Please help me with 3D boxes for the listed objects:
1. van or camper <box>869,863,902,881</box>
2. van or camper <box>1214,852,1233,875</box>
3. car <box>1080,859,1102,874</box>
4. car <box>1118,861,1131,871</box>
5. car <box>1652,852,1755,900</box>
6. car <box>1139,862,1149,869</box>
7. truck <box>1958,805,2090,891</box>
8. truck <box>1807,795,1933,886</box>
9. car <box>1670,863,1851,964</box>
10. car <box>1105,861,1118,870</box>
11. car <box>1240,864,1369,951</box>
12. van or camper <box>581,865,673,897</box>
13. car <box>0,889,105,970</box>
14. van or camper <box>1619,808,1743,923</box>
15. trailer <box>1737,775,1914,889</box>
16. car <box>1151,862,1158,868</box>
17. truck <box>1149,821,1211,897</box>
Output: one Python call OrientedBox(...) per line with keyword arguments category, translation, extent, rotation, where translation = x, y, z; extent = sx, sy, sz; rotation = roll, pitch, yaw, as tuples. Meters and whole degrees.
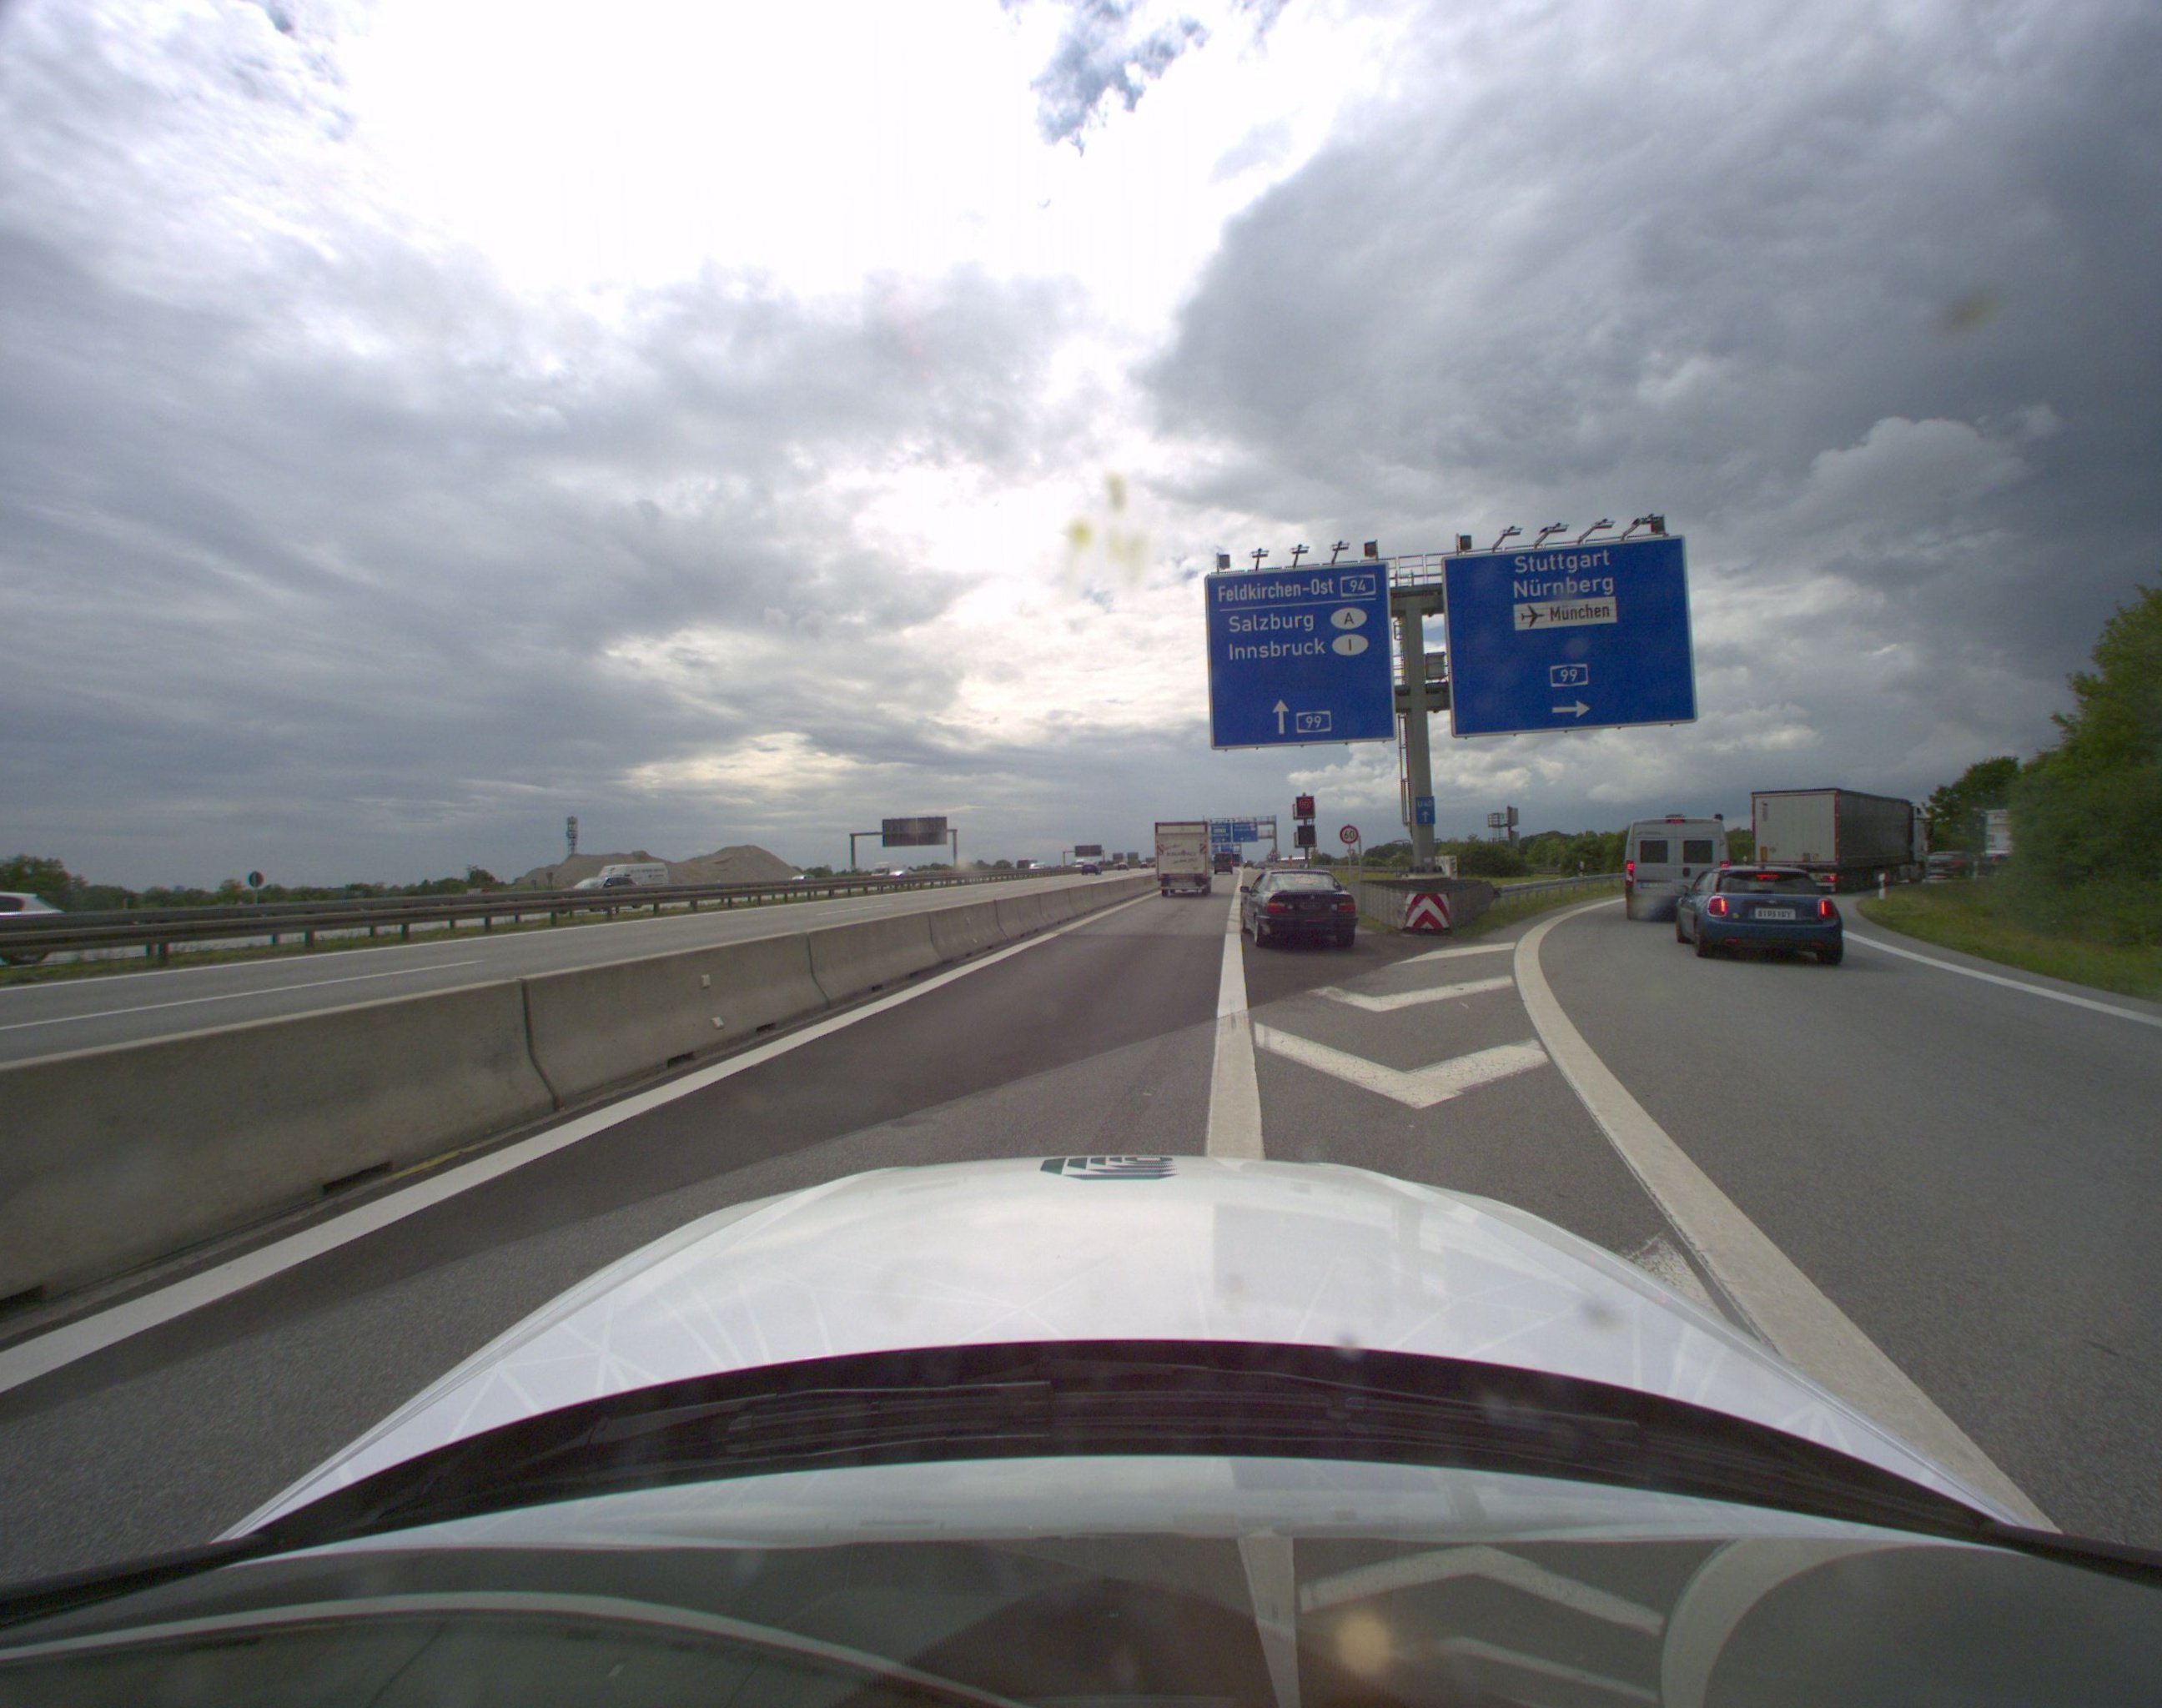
OrientedBox(category="van or camper", translation=(-24.909, 2.243, 104.071), extent=(2.175, 2.172, 5.821), rotation=(-1, -1, 7))
OrientedBox(category="van or camper", translation=(15.750, 1.044, 89.965), extent=(1.987, 2.371, 6.143), rotation=(-1, -1, 10))
OrientedBox(category="car", translation=(1.189, 1.425, 94.905), extent=(1.982, 1.662, 4.395), rotation=(-1, -1, 9))
OrientedBox(category="car", translation=(7.580, 2.098, 142.697), extent=(1.982, 1.541, 4.008), rotation=(-1, -1, 7))
OrientedBox(category="car", translation=(21.543, 0.717, 28.095), extent=(2.186, 1.501, 4.815), rotation=(-2, -1, 45))
OrientedBox(category="car", translation=(14.200, 2.548, 182.774), extent=(1.982, 1.398, 4.008), rotation=(-1, -1, 7))
OrientedBox(category="truck", translation=(54.879, -0.392, 47.334), extent=(9.016, 4.615, 3.252), rotation=(-1, 0, -29))
OrientedBox(category="truck", translation=(38.829, -0.620, 40.033), extent=(6.819, 4.095, 3.333), rotation=(0, -1, -37))
OrientedBox(category="car", translation=(11.057, 0.864, 13.519), extent=(1.713, 1.419, 3.688), rotation=(-1, -1, 31))
OrientedBox(category="car", translation=(5.476, 2.043, 146.868), extent=(1.656, 1.706, 4.012), rotation=(-1, -1, 11))
OrientedBox(category="car", translation=(4.012, 0.886, 15.244), extent=(1.772, 1.378, 4.145), rotation=(0, -1, 7))
OrientedBox(category="van or camper", translation=(-30.866, 1.797, 55.712), extent=(2.223, 2.014, 6.289), rotation=(-1, -1, 6))
OrientedBox(category="car", translation=(-20.484, 1.401, 14.256), extent=(1.885, 1.423, 4.002), rotation=(-1, -1, 2))
OrientedBox(category="van or camper", translation=(15.850, 0.272, 21.385), extent=(2.271, 2.568, 6.199), rotation=(-2, -1, 39))
OrientedBox(category="trailer", translation=(32.503, -0.813, 35.245), extent=(13.092, 4.193, 3.304), rotation=(0, -1, -37))
OrientedBox(category="car", translation=(20.425, 3.079, 226.259), extent=(1.982, 1.398, 4.008), rotation=(-1, -1, 7))
OrientedBox(category="truck", translation=(4.570, 0.224, 36.562), extent=(2.389, 3.090, 6.387), rotation=(-1, -1, 10))
